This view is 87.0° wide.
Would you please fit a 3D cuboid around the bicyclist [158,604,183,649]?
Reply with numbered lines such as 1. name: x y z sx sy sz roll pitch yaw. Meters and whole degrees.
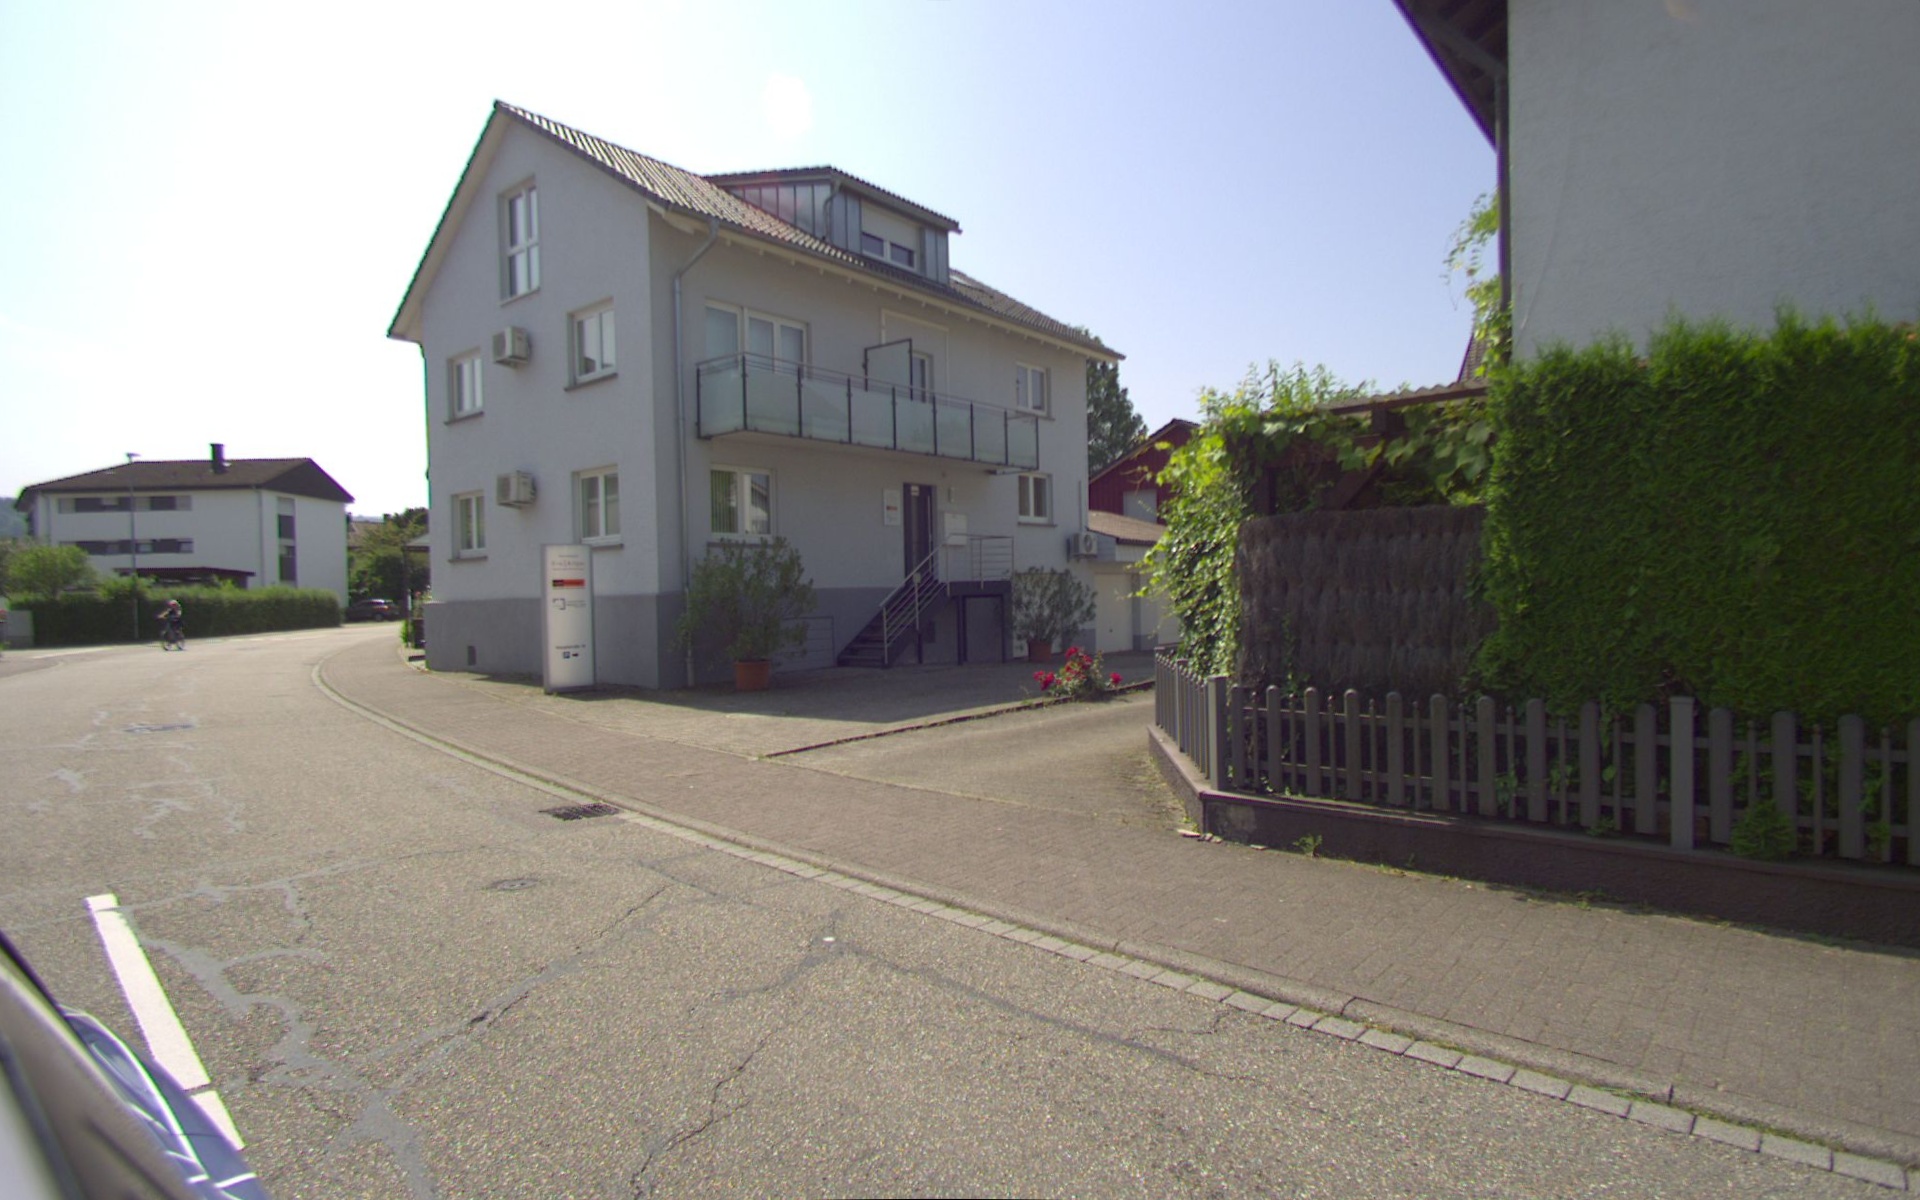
1. bicyclist: -27.000 0.901 34.615 0.538 1.501 0.799 -1 0 -28

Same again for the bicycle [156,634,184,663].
1. bicycle: -26.936 1.650 34.518 0.513 0.911 1.317 -1 0 -27

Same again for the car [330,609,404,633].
1. car: -43.456 1.547 74.249 4.224 1.684 2.070 0 0 -9
